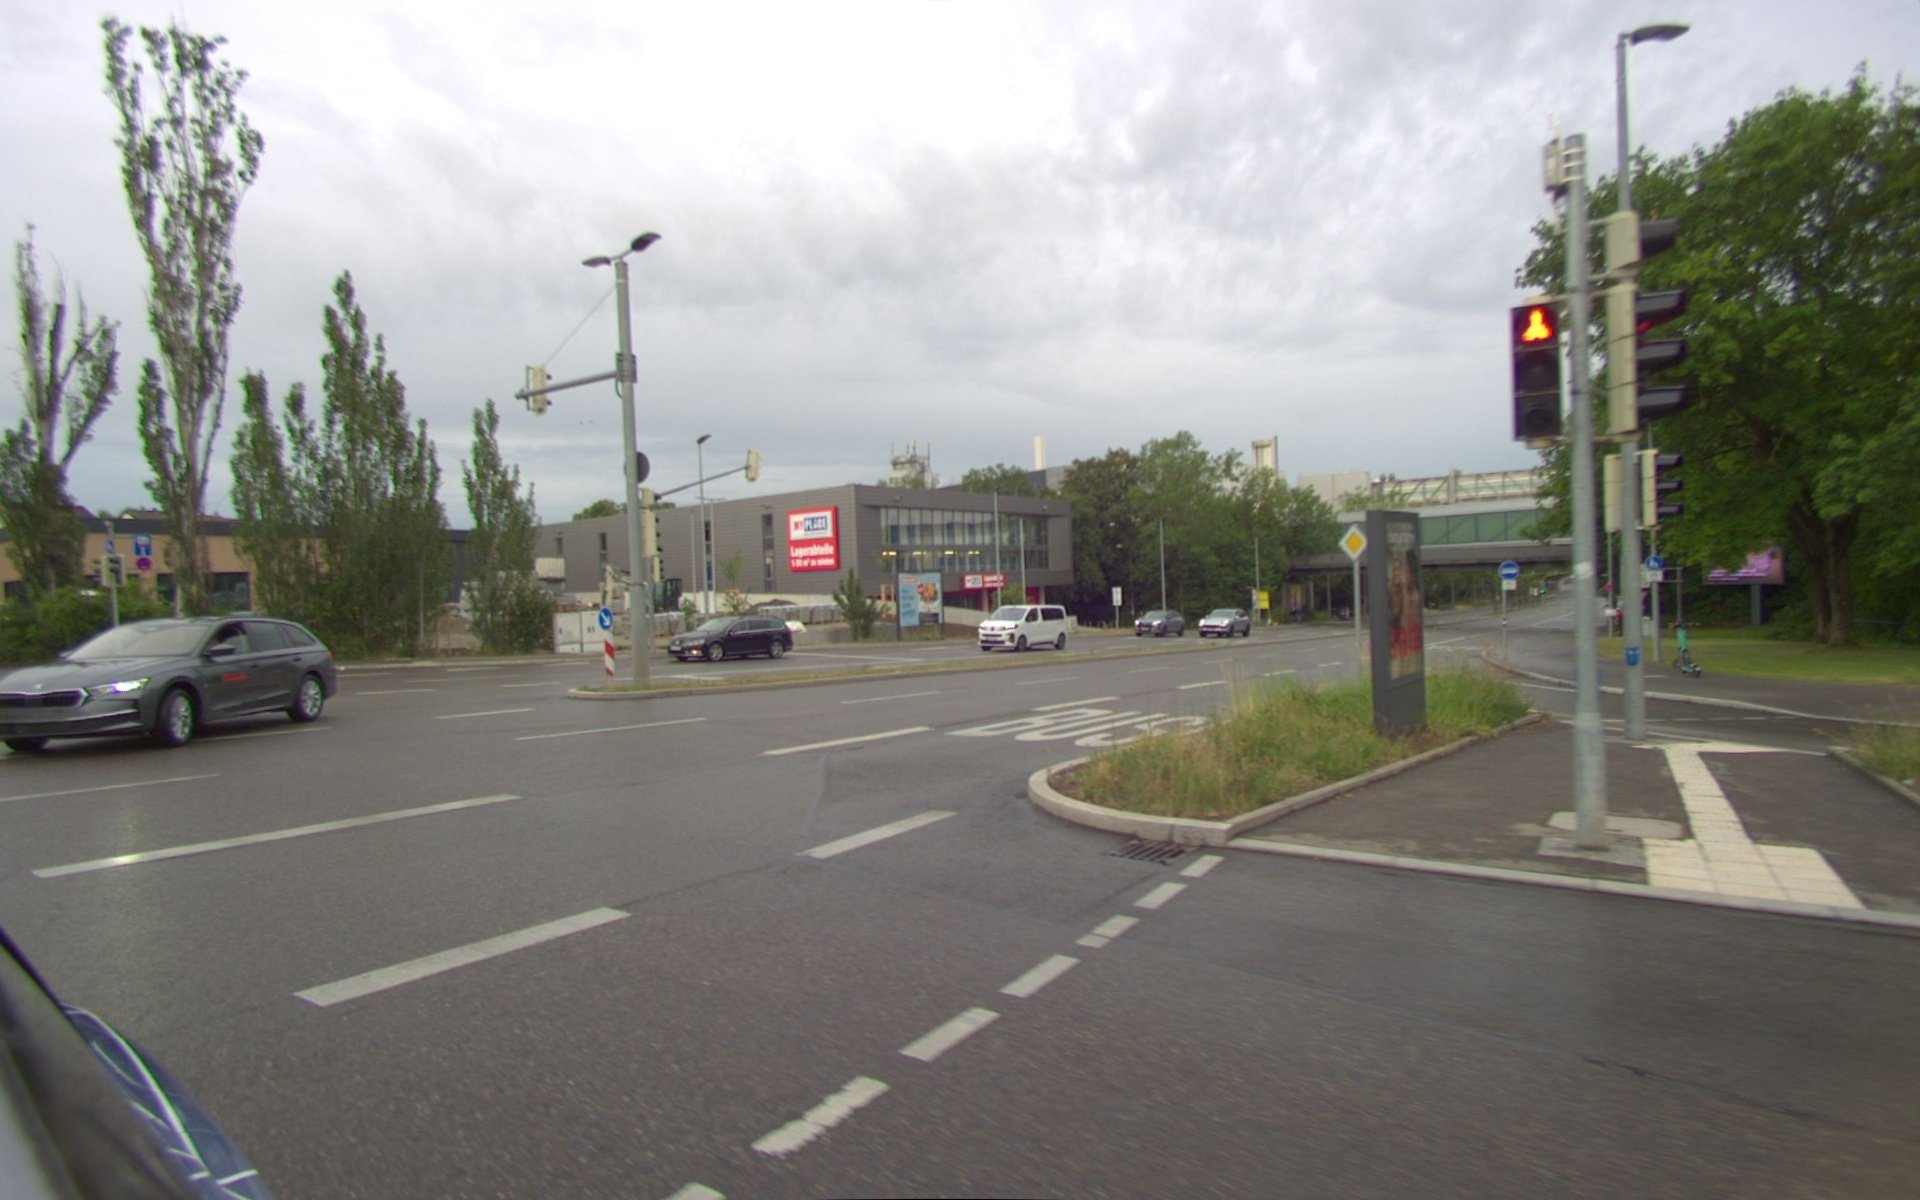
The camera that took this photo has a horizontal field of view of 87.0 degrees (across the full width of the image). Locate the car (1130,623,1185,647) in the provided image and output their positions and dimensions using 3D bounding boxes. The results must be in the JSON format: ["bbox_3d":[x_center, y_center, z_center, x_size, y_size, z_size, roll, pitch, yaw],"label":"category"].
[{"bbox_3d":[12.112,2.135,61.972,1.836,1.415,3.994,-2,-2,35],"label":"car"}]

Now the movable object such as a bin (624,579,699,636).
[{"bbox_3d":[-14.323,0.398,48.628,1.920,2.647,2.969,-2,-2,30],"label":"movable object such as a bin"}]

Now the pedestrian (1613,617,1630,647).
[{"bbox_3d":[36.480,1.767,55.824,0.742,1.641,0.704,-1,-2,35],"label":"pedestrian"}]

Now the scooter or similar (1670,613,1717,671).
[{"bbox_3d":[16.459,0.929,22.728,0.546,1.269,1.346,-2,-2,24],"label":"scooter or similar"}]

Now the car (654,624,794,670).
[{"bbox_3d":[-7.752,1.519,33.588,1.836,1.415,4.429,-2,-2,35],"label":"car"}]

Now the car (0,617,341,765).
[{"bbox_3d":[-9.673,0.979,12.316,1.814,1.468,4.203,-1,-2,-2],"label":"car"}]

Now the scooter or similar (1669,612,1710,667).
[{"bbox_3d":[17.247,0.927,23.949,0.514,1.269,1.216,-2,-2,24],"label":"scooter or similar"}]

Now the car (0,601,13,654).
[{"bbox_3d":[-43.966,1.260,45.379,5.220,2.333,1.723,-2,-2,42],"label":"car"}]

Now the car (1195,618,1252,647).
[{"bbox_3d":[16.046,1.950,61.426,1.836,1.715,4.570,-2,-2,35],"label":"car"}]

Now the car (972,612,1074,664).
[{"bbox_3d":[2.725,1.554,42.464,1.836,2.050,5.130,-2,-2,36],"label":"car"}]
